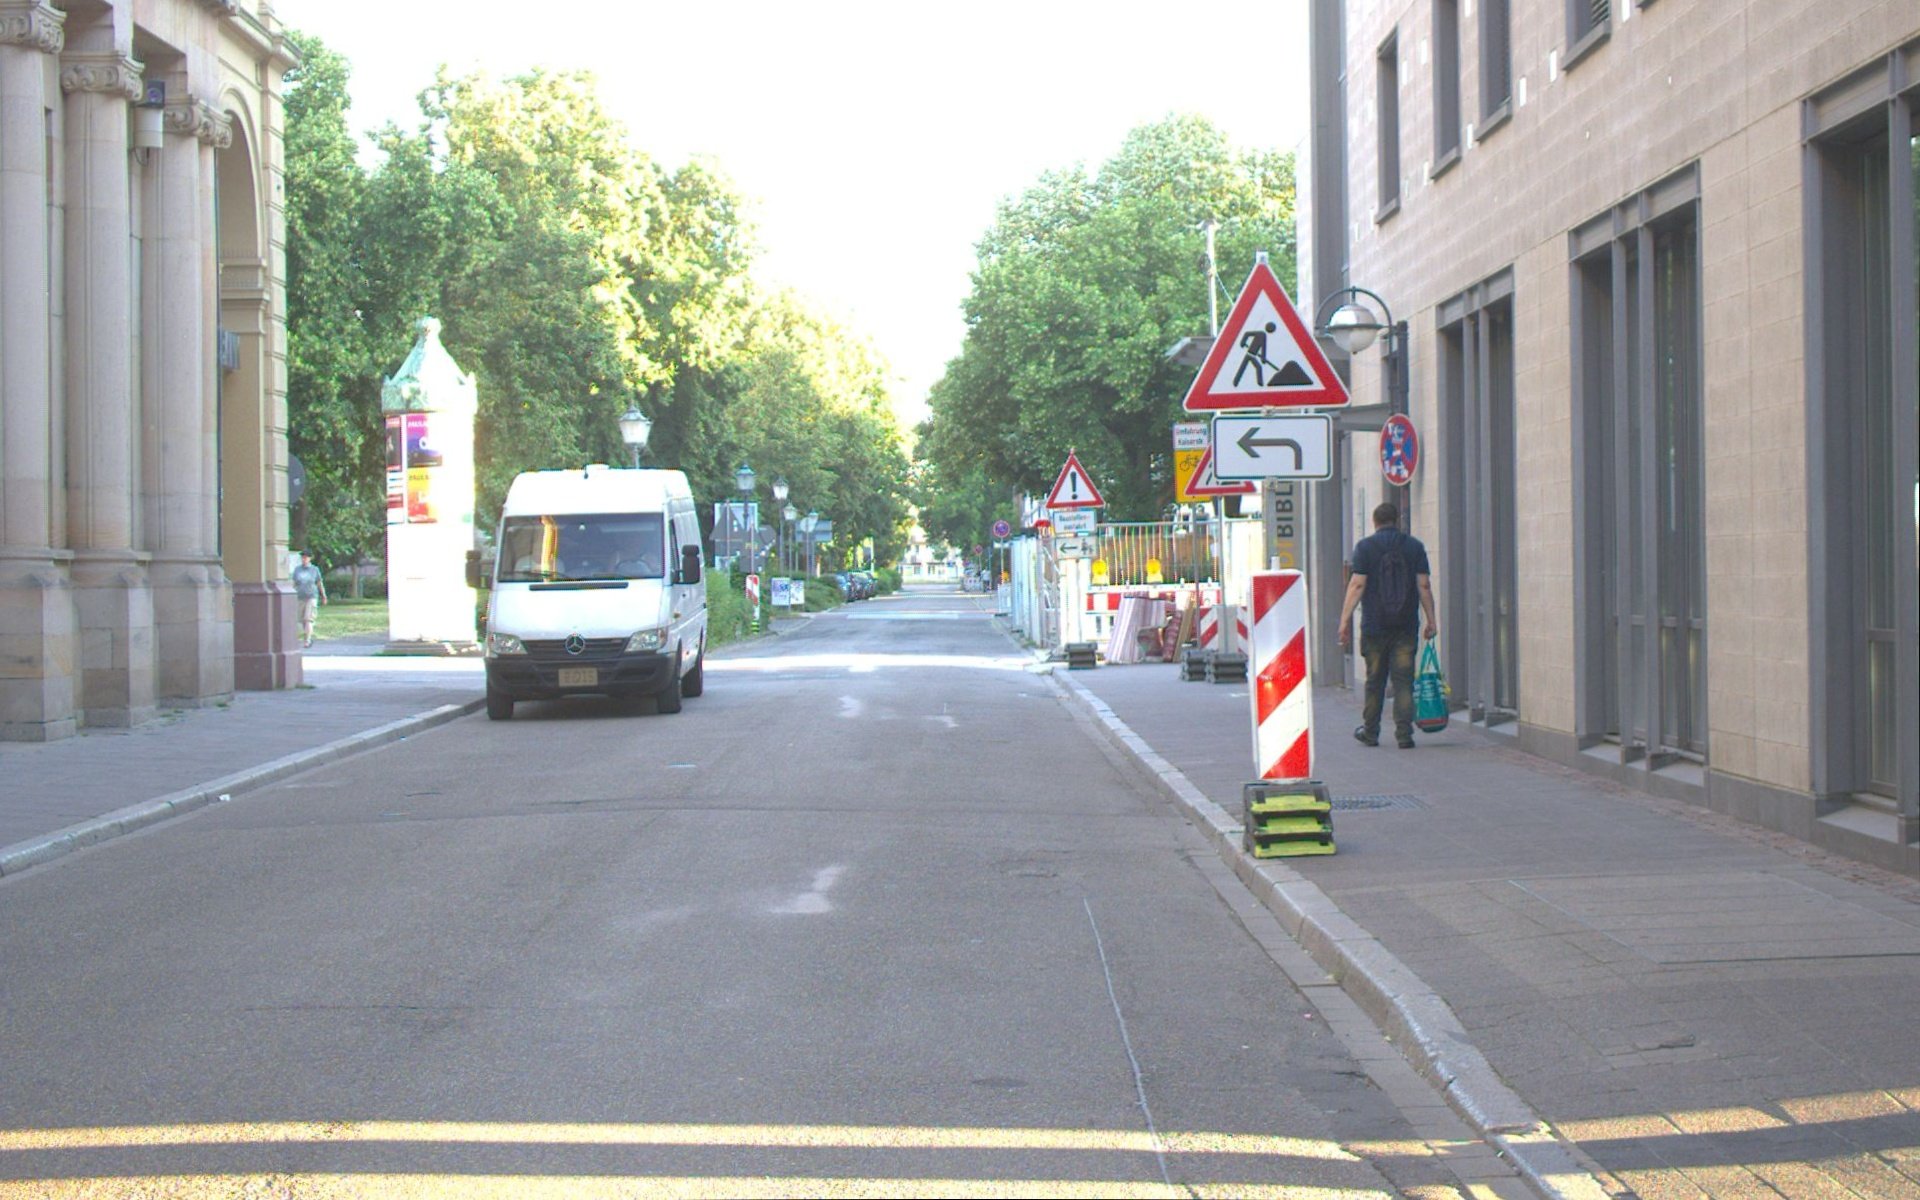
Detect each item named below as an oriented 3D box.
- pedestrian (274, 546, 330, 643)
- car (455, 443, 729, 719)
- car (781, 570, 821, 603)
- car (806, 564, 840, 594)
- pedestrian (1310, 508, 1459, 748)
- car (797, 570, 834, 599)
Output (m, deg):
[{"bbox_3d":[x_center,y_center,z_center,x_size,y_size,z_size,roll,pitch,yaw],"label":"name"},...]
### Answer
[{"bbox_3d":[-11.651,-0.099,60.864,0.746,1.696,0.702,-1,1,7],"label":"pedestrian"},{"bbox_3d":[-3.731,-0.233,36.105,1.996,2.503,6.470,-4,1,0],"label":"car"},{"bbox_3d":[-6.295,-0.538,136.266,1.468,1.251,3.679,0,1,-1],"label":"car"},{"bbox_3d":[-6.441,-1.001,161.748,1.468,1.399,3.679,0,1,-1],"label":"car"},{"bbox_3d":[3.091,0.194,25.106,0.923,1.696,0.868,-2,1,-1],"label":"pedestrian"},{"bbox_3d":[-6.249,-0.678,148.665,1.468,1.251,3.679,0,1,-1],"label":"car"}]
